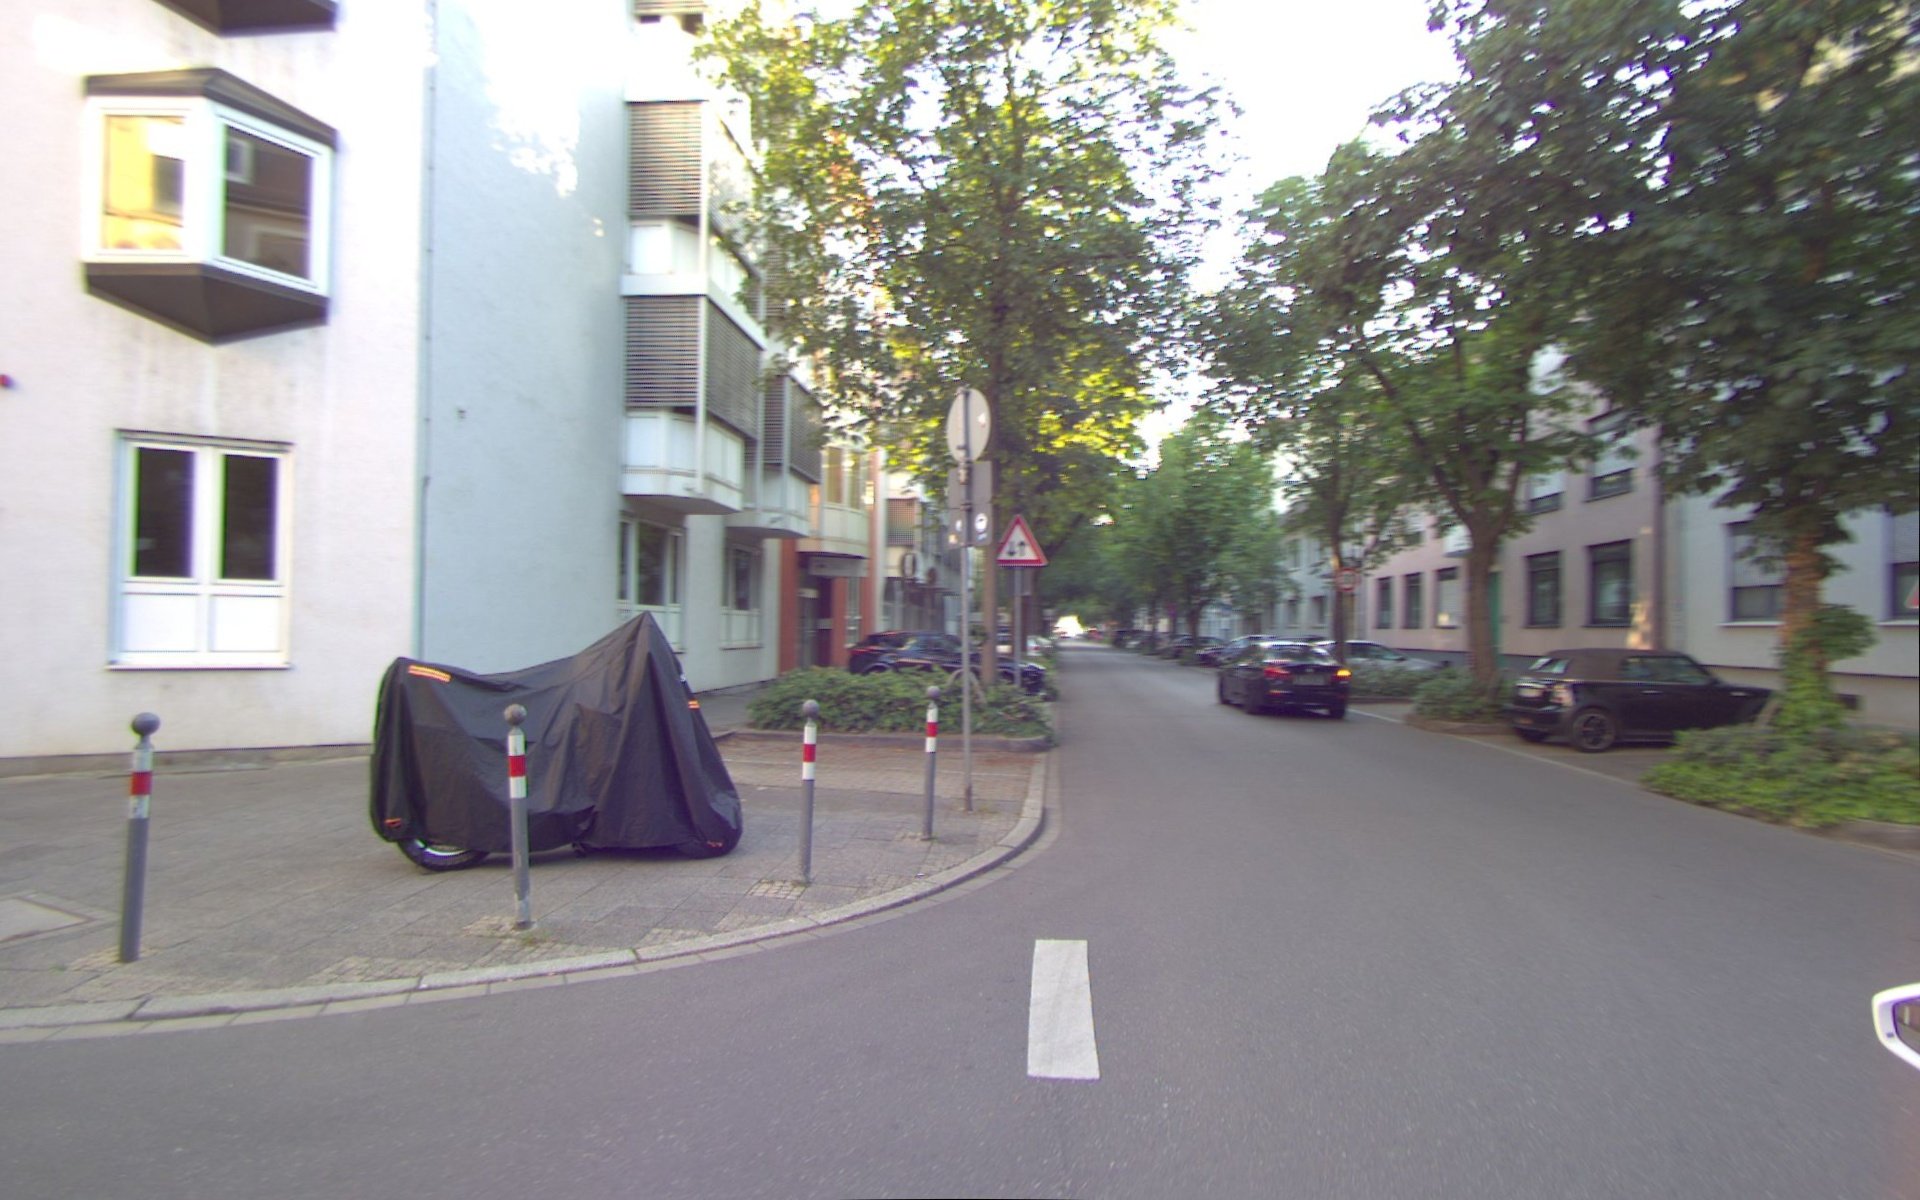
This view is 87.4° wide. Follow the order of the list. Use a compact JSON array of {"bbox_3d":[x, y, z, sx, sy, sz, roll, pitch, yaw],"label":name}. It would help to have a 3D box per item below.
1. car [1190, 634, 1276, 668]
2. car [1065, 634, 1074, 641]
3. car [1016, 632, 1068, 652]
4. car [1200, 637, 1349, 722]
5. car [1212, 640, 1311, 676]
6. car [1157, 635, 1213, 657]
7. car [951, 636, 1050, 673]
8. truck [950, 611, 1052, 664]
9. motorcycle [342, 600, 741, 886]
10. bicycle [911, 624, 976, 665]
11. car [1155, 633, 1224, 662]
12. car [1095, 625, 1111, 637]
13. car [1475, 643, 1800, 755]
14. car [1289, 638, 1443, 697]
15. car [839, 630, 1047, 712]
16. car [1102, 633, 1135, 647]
[{"bbox_3d":[13.002,2.424,47.946,3.728,1.550,1.566,1,-1,3],"label":"car"},{"bbox_3d":[24.398,8.321,223.884,1.862,1.494,4.003,1,-2,6],"label":"car"},{"bbox_3d":[6.418,3.237,78.309,3.953,1.491,1.641,1,-2,5],"label":"car"},{"bbox_3d":[6.272,1.537,20.580,1.733,1.469,4.670,1,-2,2],"label":"car"},{"bbox_3d":[12.305,2.362,41.133,3.595,1.411,1.566,0,-2,3],"label":"car"},{"bbox_3d":[15.577,3.183,69.579,3.595,1.411,1.566,1,-2,3],"label":"car"},{"bbox_3d":[1.750,2.291,42.581,4.062,1.491,1.641,1,-2,5],"label":"car"},{"bbox_3d":[2.114,1.881,50.854,4.914,2.473,1.917,2,0,6],"label":"truck"},{"bbox_3d":[-2.454,0.819,6.157,2.126,1.576,0.667,1,-1,-15],"label":"motorcycle"},{"bbox_3d":[-0.510,1.368,30.812,1.939,1.215,0.501,1,-1,-6],"label":"bicycle"},{"bbox_3d":[12.944,2.684,56.741,3.595,1.557,1.566,1,-1,3],"label":"car"},{"bbox_3d":[20.454,4.436,143.700,1.960,1.572,4.003,1,-2,5],"label":"car"},{"bbox_3d":[9.834,1.408,14.777,3.641,1.446,1.628,-1,-2,0],"label":"car"},{"bbox_3d":[11.077,1.821,27.584,3.595,1.498,1.566,1,-1,3],"label":"car"},{"bbox_3d":[-0.288,1.488,21.758,4.283,1.529,1.836,2,-1,5],"label":"car"},{"bbox_3d":[17.779,4.496,112.850,3.595,1.411,1.566,1,-2,3],"label":"car"}]
